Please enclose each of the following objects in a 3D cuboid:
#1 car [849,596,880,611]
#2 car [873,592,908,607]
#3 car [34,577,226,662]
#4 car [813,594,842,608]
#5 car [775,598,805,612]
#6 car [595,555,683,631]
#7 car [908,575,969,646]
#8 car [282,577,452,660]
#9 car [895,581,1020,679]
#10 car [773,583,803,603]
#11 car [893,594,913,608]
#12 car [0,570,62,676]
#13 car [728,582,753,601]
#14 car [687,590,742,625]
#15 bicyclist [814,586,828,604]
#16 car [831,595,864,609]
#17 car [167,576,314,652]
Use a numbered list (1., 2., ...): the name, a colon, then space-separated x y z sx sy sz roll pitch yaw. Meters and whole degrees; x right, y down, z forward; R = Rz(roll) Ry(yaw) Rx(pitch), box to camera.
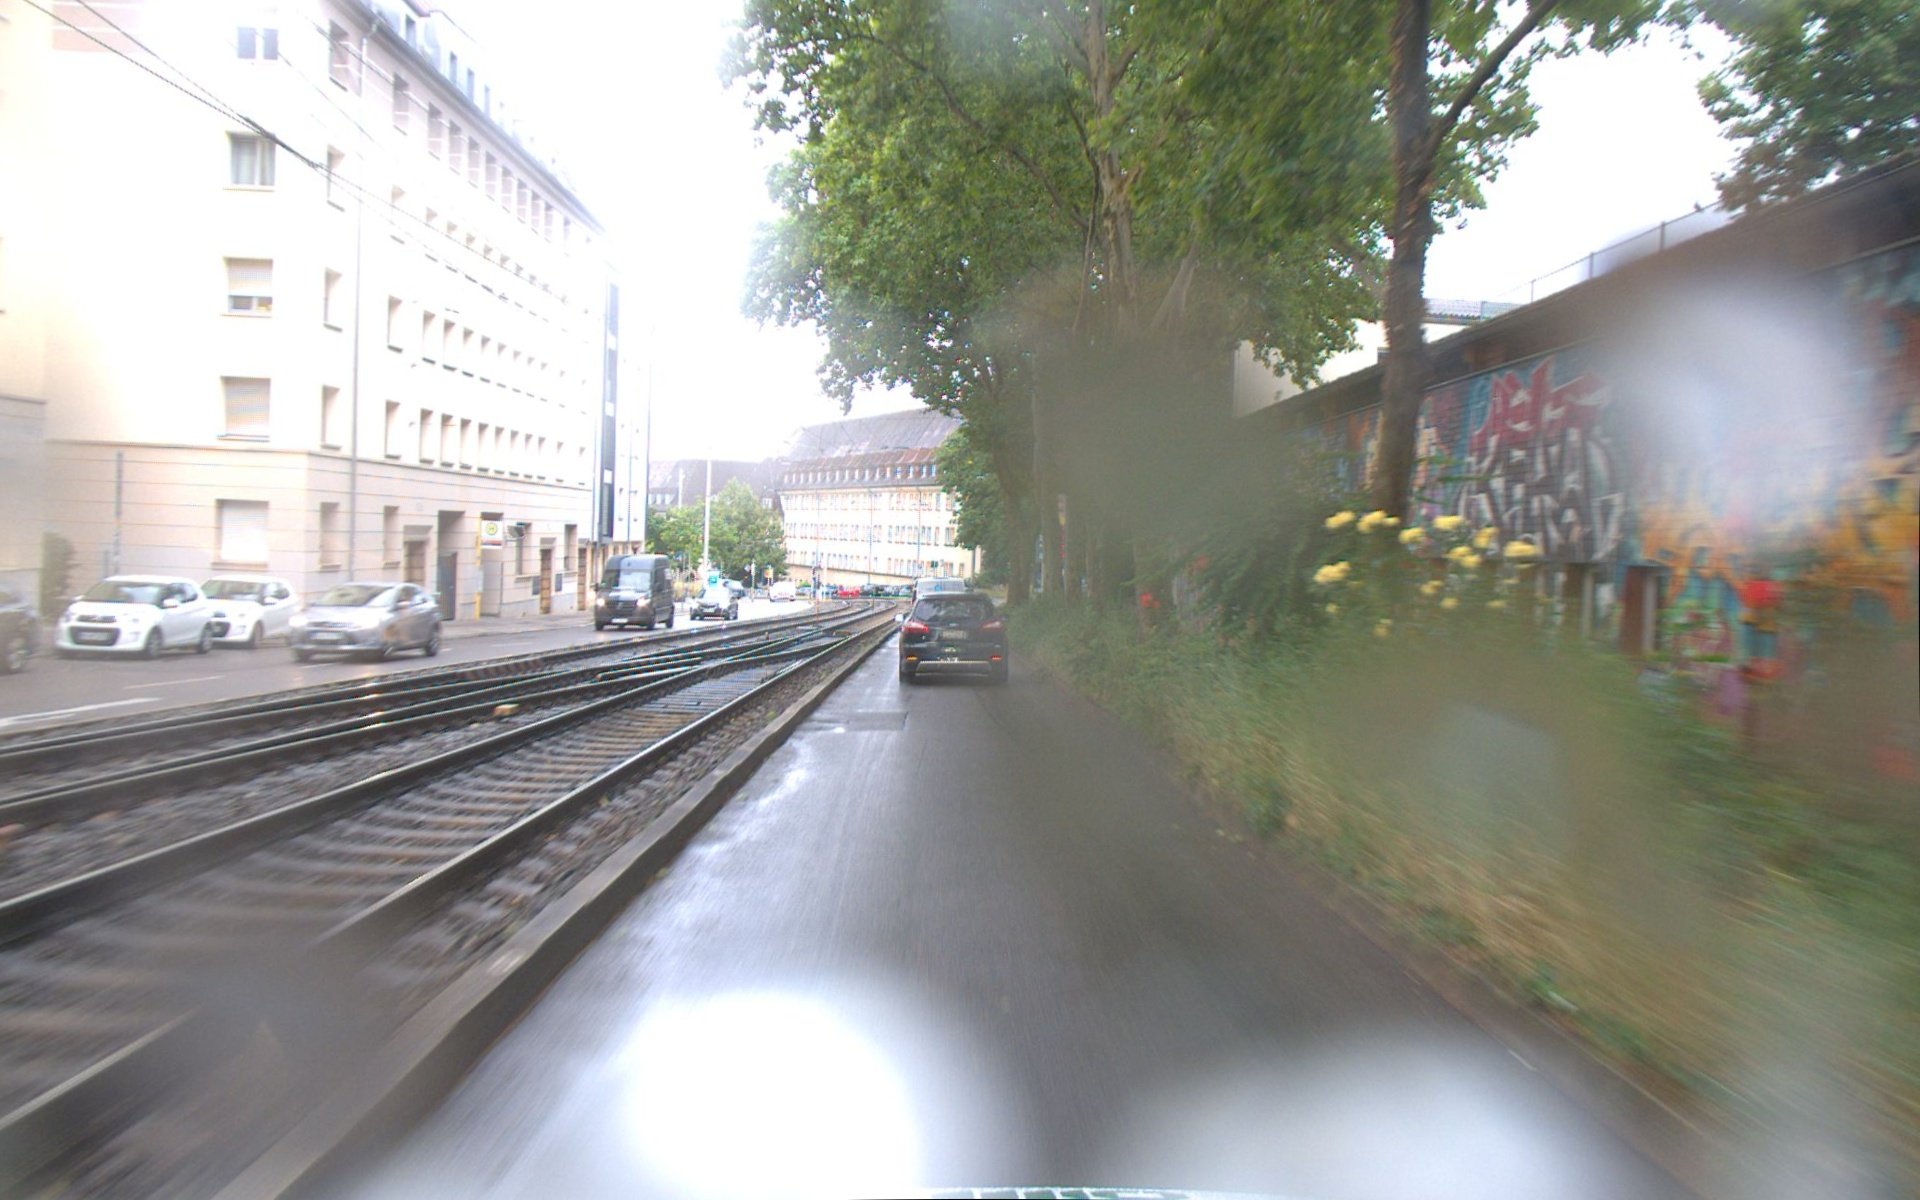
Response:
1. car: -10.521 0.396 181.229 1.567 1.569 3.951 1 -1 -35
2. car: -7.451 -0.007 176.534 1.977 1.569 3.951 1 -1 -35
3. car: -15.217 0.331 30.562 1.670 1.421 3.933 2 0 -3
4. car: -15.291 0.122 190.403 1.971 1.569 3.964 -1 0 -28
5. car: -20.300 0.607 197.877 1.975 1.569 3.954 1 -1 -33
6. car: -11.202 -0.176 58.113 1.953 2.495 5.997 1 -1 -1
7. car: -0.692 0.328 50.623 1.706 2.049 3.901 1 -1 -3
8. car: -11.312 0.342 31.860 1.676 1.488 4.281 0 0 1
9. car: -0.128 0.495 28.049 1.895 1.478 4.315 2 -1 -3
10. car: -13.489 -0.518 129.806 1.762 1.508 4.840 1 0 0
11. car: -5.967 0.104 172.865 1.627 1.502 3.636 1 -1 -9
12. car: -14.759 0.300 23.260 1.777 1.525 4.581 2 0 -1
13. car: -19.105 -0.715 144.082 1.957 1.569 3.990 1 -1 -10
14. car: -11.310 0.306 76.356 1.842 1.512 4.854 0 1 -1
15. bicyclist: -10.652 -0.367 126.931 0.766 1.336 0.780 -1 0 -38
16. car: -12.630 0.243 185.360 1.978 1.569 3.948 1 -1 -36
17. car: -15.298 0.295 35.371 1.674 1.475 3.539 3 -1 -3
